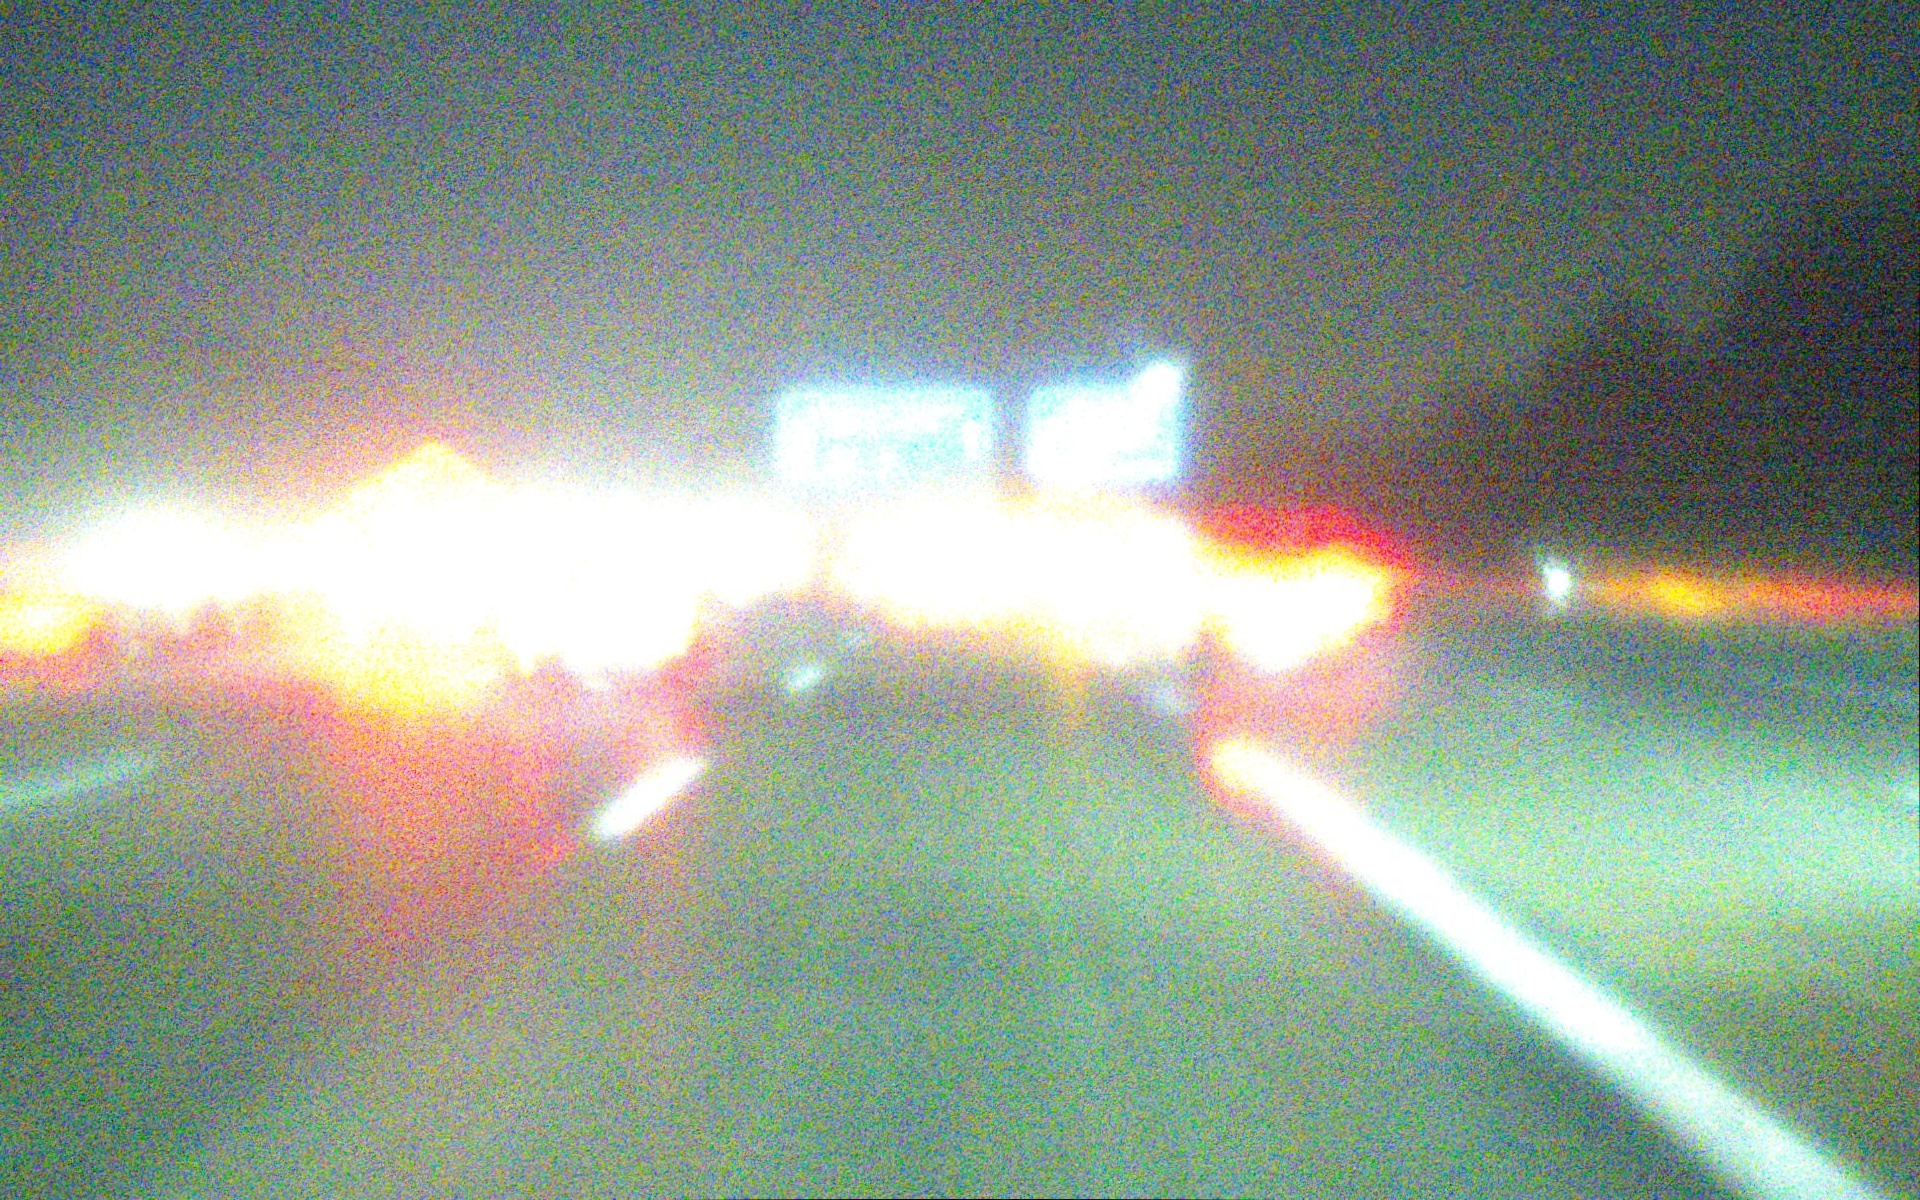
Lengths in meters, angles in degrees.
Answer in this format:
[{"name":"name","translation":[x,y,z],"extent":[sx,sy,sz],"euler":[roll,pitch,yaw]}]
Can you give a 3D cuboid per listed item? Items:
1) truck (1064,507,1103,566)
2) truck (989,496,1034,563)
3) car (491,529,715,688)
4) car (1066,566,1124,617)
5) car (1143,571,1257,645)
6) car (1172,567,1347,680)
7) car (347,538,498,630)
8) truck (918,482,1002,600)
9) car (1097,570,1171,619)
[{"name":"truck","translation":[6.783,-3.448,189.377],"extent":[1.993,3.032,6.464],"euler":[-3,0,2]},{"name":"truck","translation":[2.548,-3.429,168.403],"extent":[1.993,3.032,6.464],"euler":[-3,0,2]},{"name":"car","translation":[-3.505,0.038,34.342],"extent":[1.802,1.482,4.000],"euler":[0,1,0]},{"name":"car","translation":[4.383,-0.277,112.073],"extent":[1.863,1.612,4.000],"euler":[1,0,2]},{"name":"car","translation":[4.169,0.131,60.038],"extent":[1.580,1.242,3.069],"euler":[1,0,-4]},{"name":"car","translation":[3.449,0.258,39.998],"extent":[1.580,1.242,3.069],"euler":[1,0,-4]},{"name":"car","translation":[-7.829,-0.215,50.346],"extent":[1.662,1.232,3.761],"euler":[-3,0,-1]},{"name":"truck","translation":[0.042,-1.571,94.381],"extent":[1.993,3.032,6.464],"euler":[-3,0,2]},{"name":"car","translation":[4.549,-0.150,89.959],"extent":[1.580,1.242,3.069],"euler":[1,0,-4]}]
